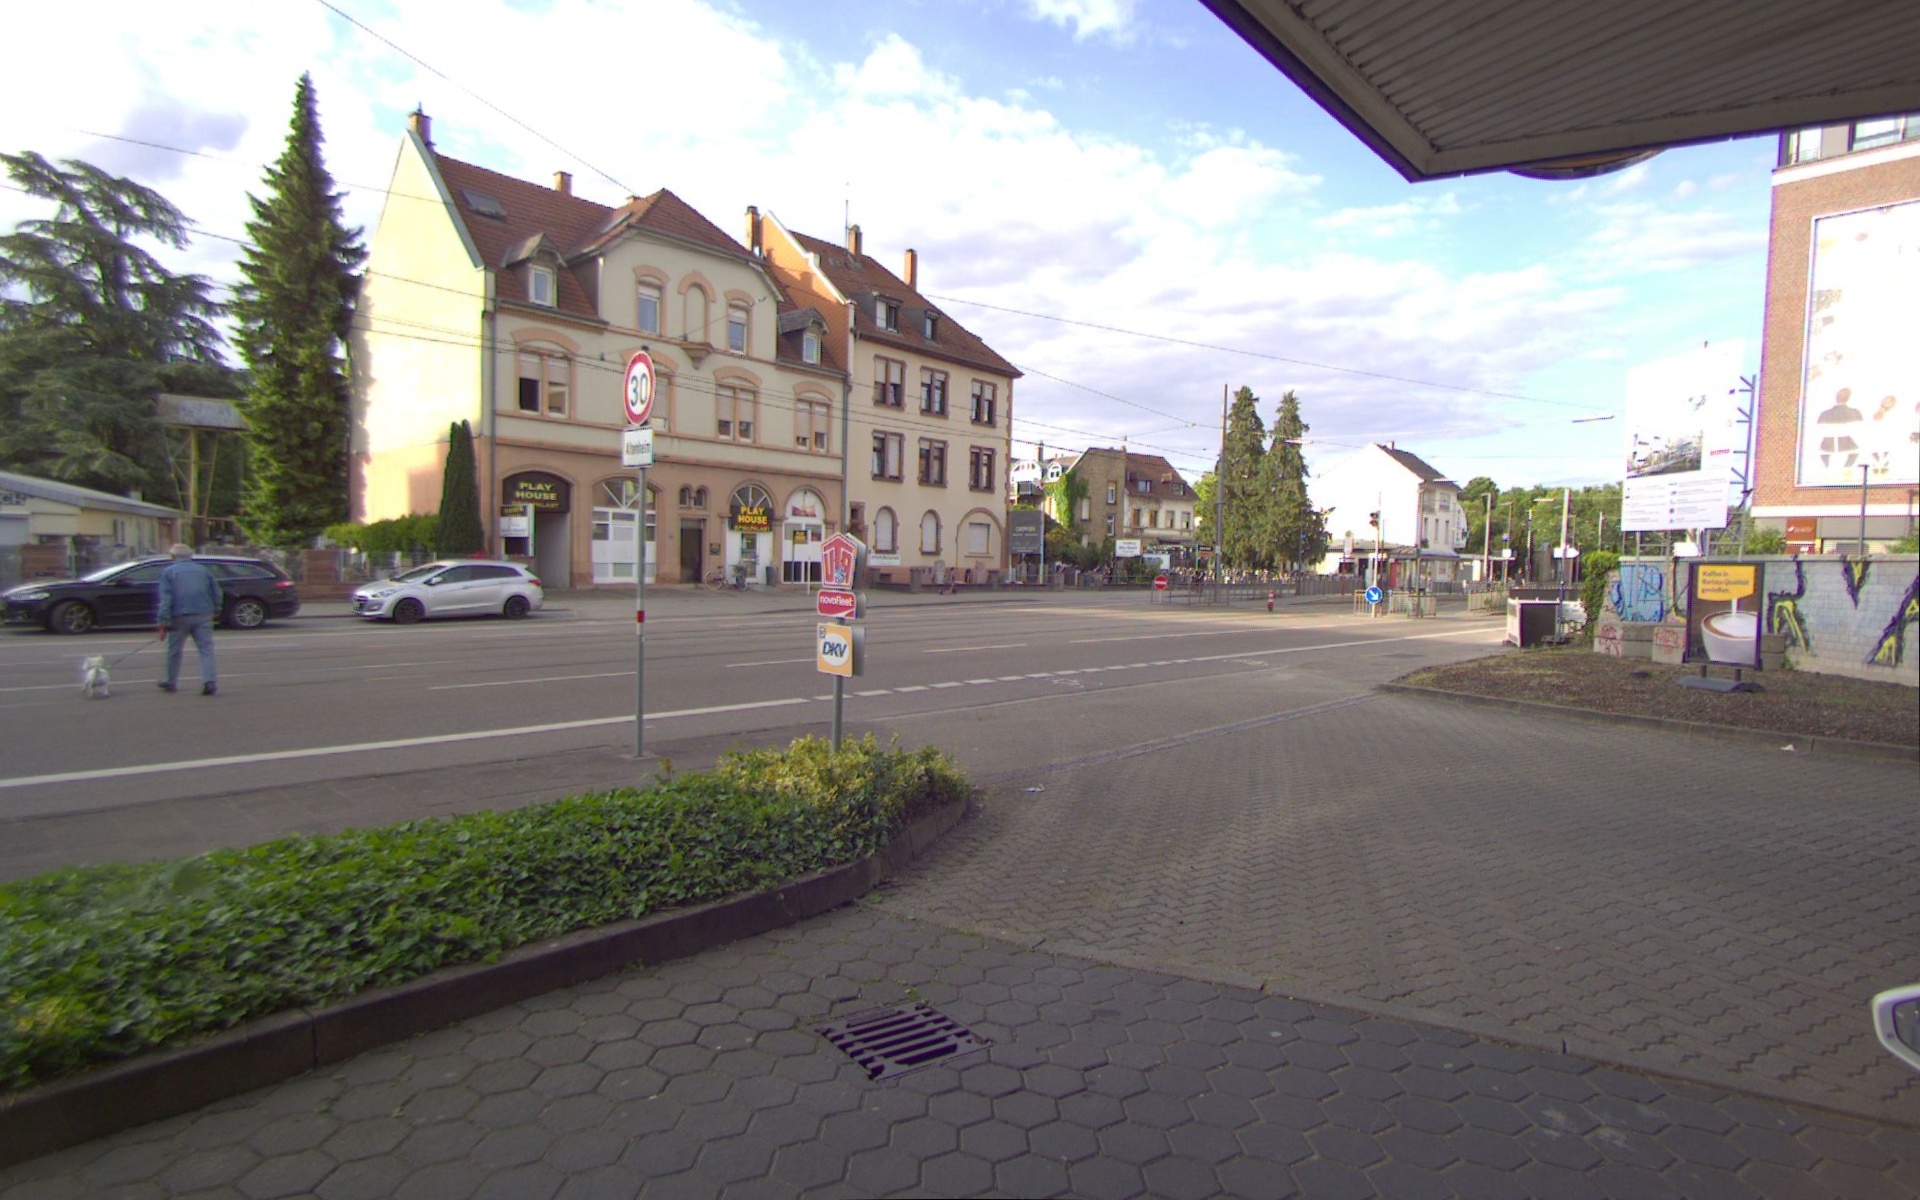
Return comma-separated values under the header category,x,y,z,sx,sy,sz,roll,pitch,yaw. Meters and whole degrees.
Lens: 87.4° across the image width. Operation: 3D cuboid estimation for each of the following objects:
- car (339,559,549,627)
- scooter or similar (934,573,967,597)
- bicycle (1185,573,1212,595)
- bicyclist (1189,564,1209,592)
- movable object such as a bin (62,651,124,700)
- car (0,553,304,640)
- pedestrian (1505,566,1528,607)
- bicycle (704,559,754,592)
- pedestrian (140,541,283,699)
category,x,y,z,sx,sy,sz,roll,pitch,yaw
car,-12.907,-0.231,25.359,1.699,1.503,4.434,4,4,40
scooter or similar,-0.422,-0.659,45.114,0.461,1.041,1.655,4,3,40
bicycle,13.417,-0.915,56.507,0.670,1.239,1.909,2,2,41
bicyclist,13.425,-1.241,56.499,0.670,1.555,1.080,2,2,41
movable object such as a bin,-9.579,0.825,11.093,0.478,0.426,0.671,-1,5,-44
car,-16.587,-0.136,20.738,1.983,1.520,4.755,4,4,39
pedestrian,28.624,-0.702,51.704,0.797,2.040,0.845,2,0,44
bicycle,-9.093,-0.950,39.613,0.665,1.229,1.862,4,2,41
pedestrian,-8.625,0.189,11.601,0.953,1.690,1.002,4,4,27
